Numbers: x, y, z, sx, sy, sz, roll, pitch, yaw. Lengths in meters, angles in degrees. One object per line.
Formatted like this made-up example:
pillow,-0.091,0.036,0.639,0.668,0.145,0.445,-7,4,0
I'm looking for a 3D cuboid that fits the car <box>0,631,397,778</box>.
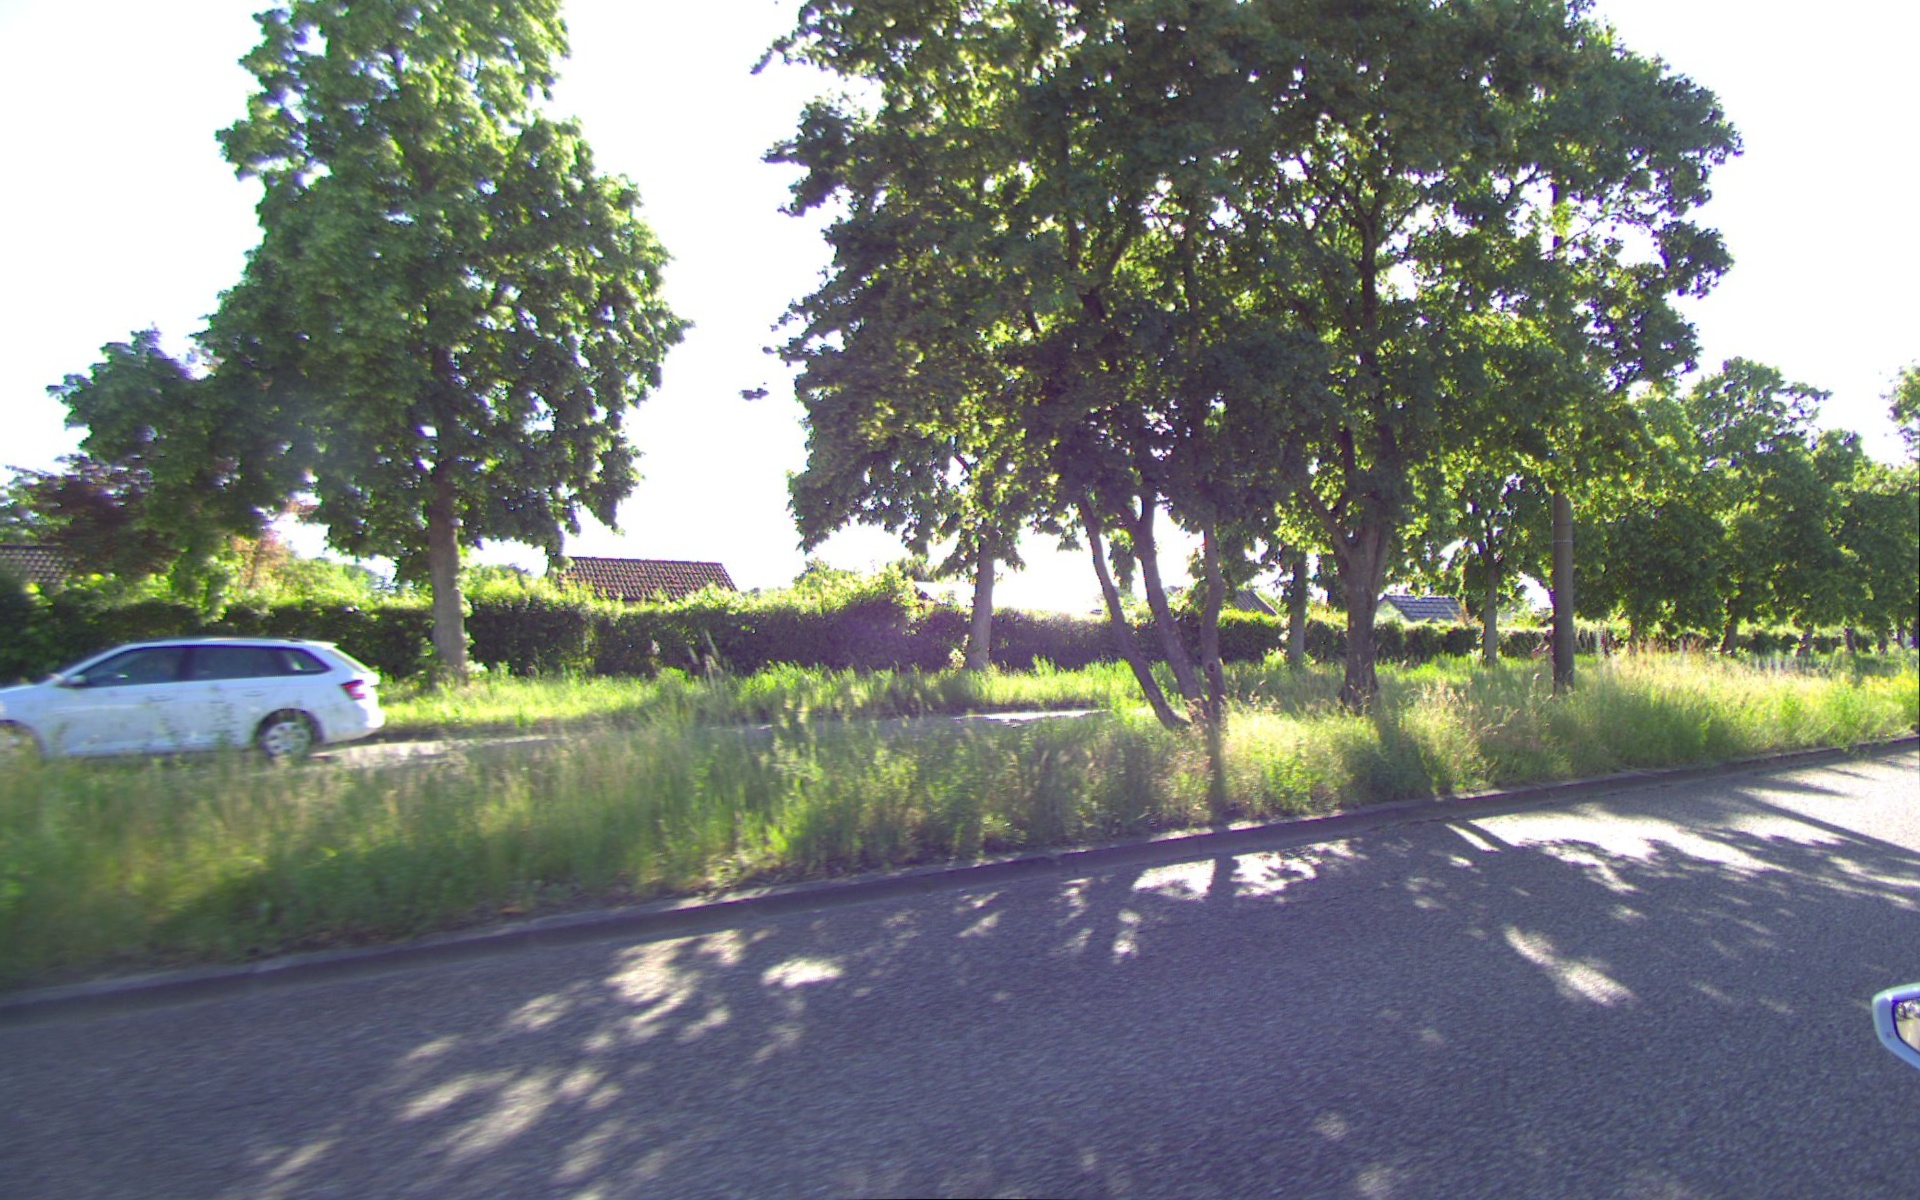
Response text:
car,-8.921,1.140,11.667,4.130,1.486,1.662,1,-4,-30
